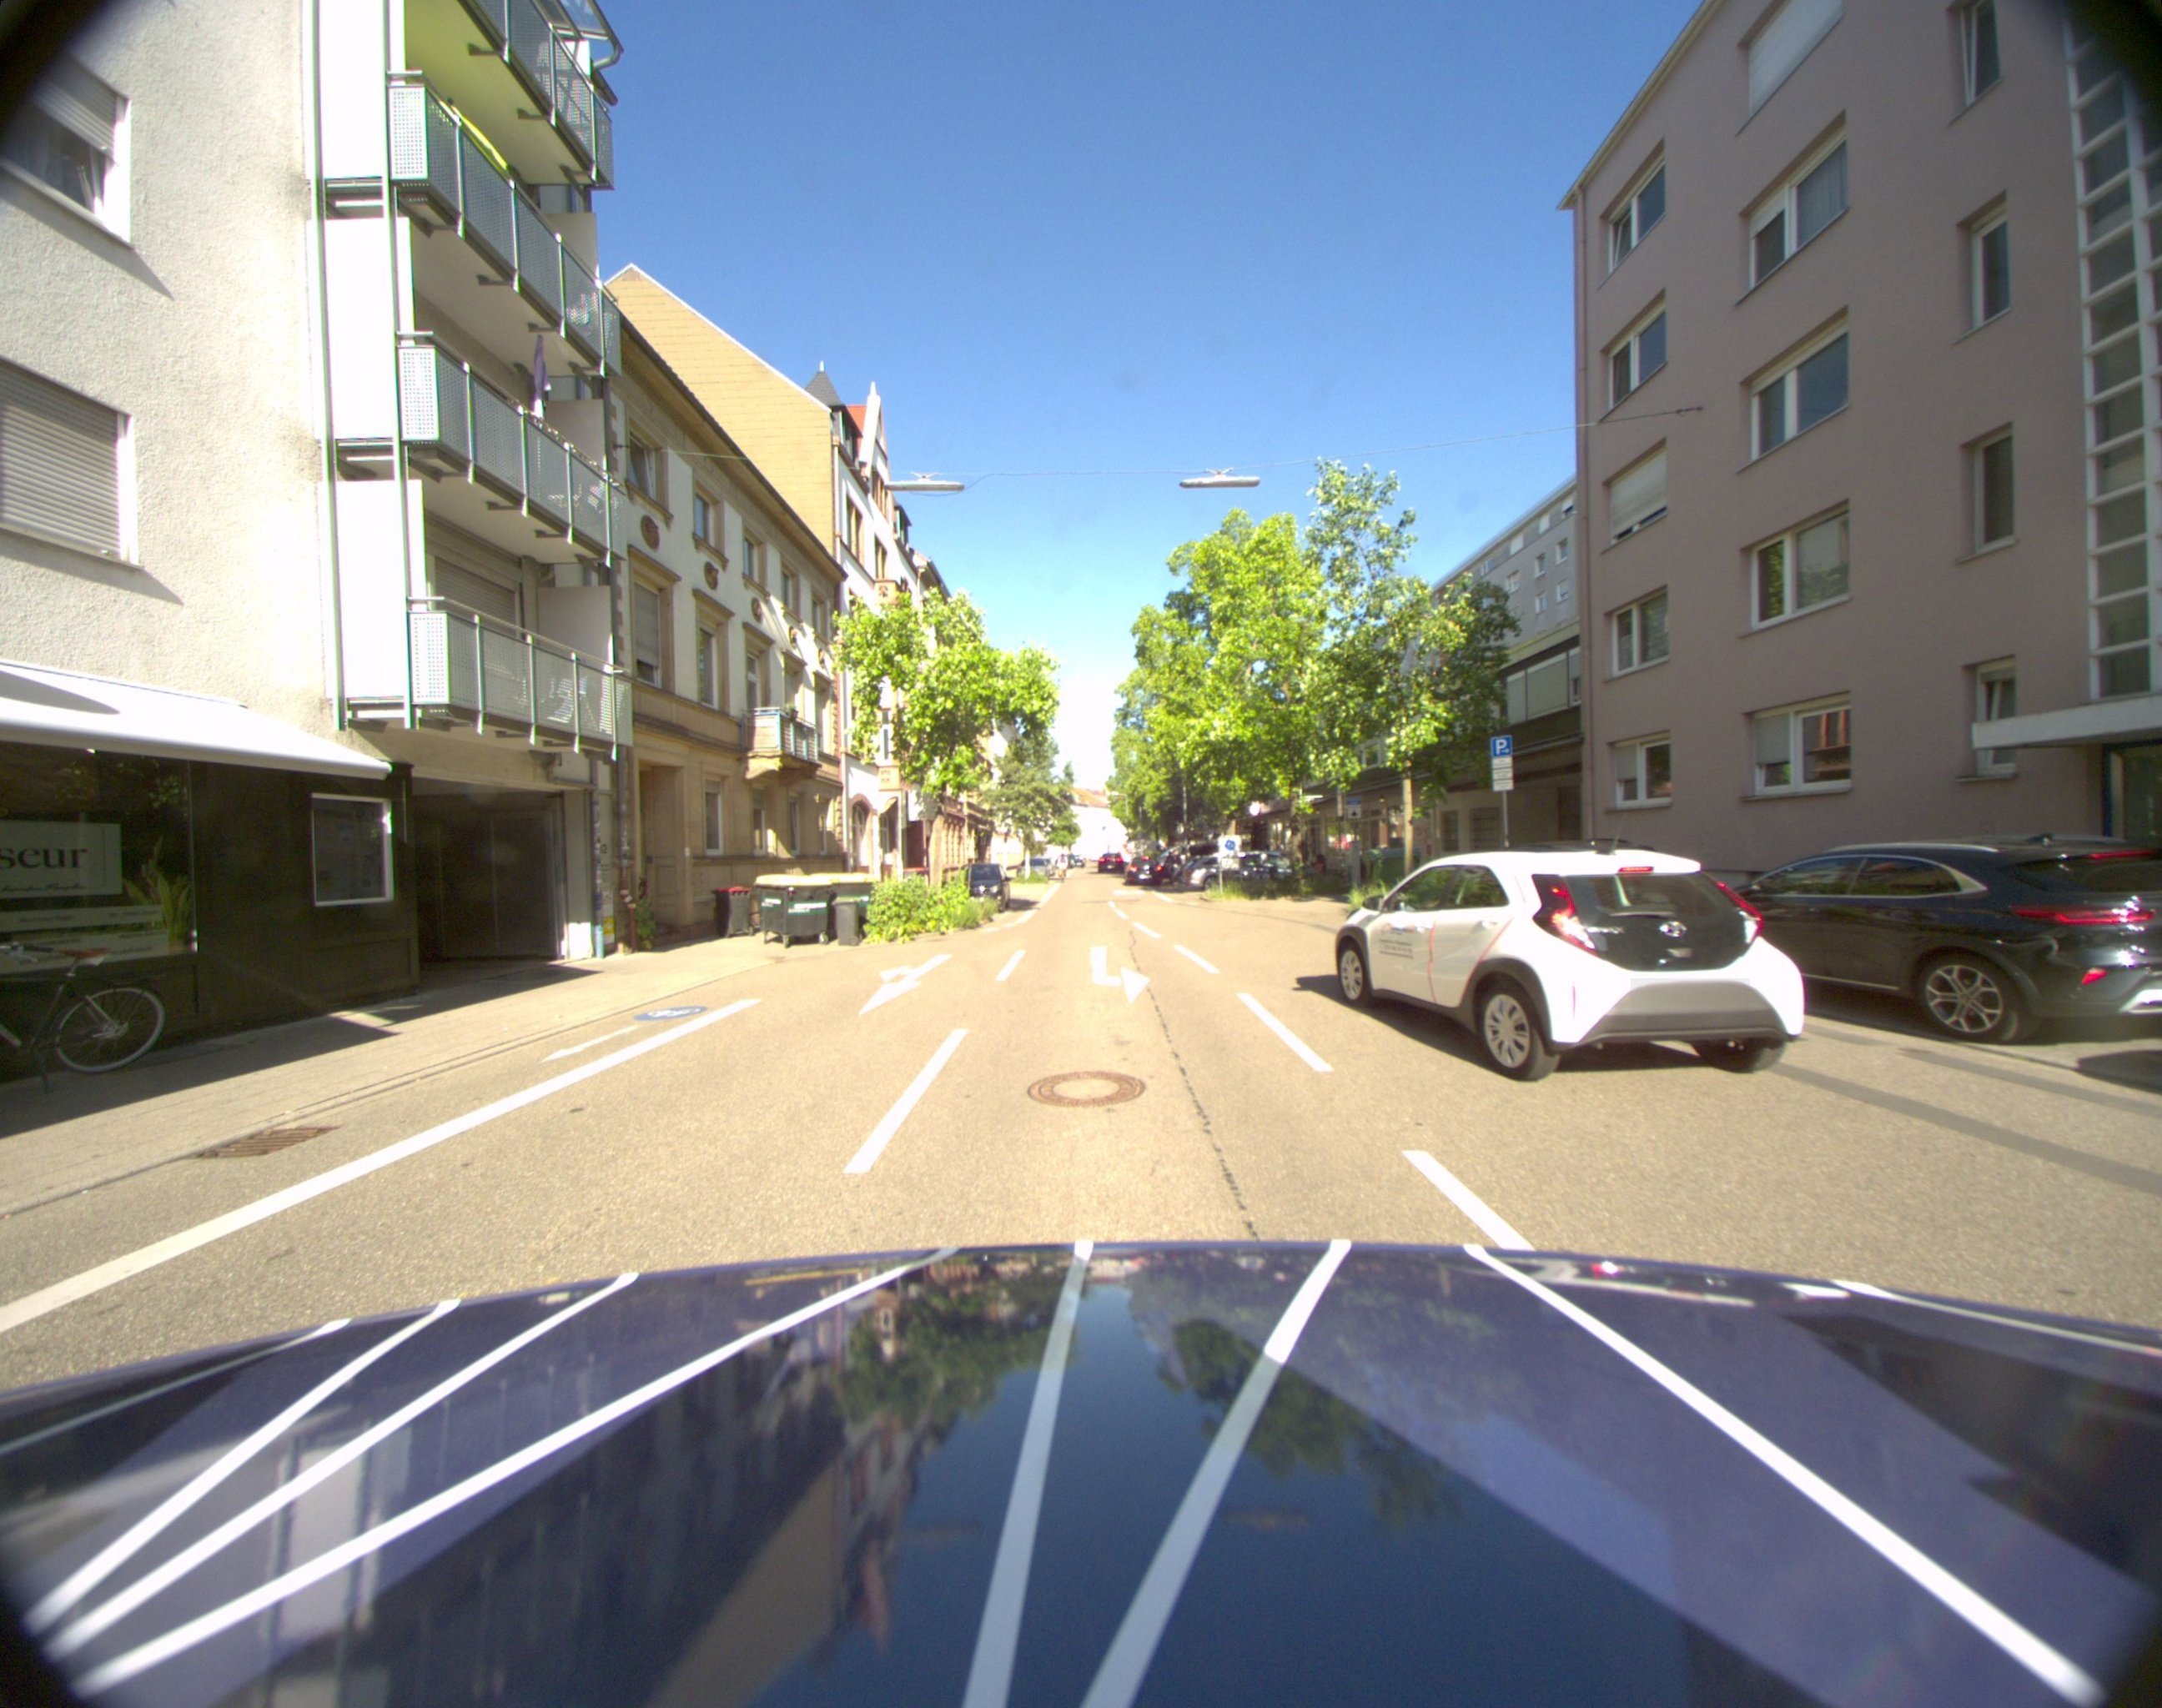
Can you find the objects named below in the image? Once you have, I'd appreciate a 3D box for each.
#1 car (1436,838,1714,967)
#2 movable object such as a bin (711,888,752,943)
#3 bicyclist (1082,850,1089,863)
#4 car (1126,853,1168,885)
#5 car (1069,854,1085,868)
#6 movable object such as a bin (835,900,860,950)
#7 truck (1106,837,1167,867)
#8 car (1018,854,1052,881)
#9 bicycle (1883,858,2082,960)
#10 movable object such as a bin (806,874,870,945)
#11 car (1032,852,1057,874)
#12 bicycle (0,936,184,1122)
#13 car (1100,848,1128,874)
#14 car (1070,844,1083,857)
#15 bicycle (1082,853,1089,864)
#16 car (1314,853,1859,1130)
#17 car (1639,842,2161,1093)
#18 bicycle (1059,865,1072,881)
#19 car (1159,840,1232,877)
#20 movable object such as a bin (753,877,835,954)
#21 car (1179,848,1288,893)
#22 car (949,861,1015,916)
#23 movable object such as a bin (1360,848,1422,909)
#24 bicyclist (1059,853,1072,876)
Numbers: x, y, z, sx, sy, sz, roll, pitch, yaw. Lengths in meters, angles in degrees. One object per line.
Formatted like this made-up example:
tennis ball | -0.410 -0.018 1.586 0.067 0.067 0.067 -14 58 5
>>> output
car | 7.591 0.642 12.265 1.821 1.583 4.141 -5 0 2
movable object such as a bin | -7.317 1.273 15.902 0.615 1.075 0.568 2 3 42
bicyclist | 0.539 0.302 91.910 0.748 1.588 0.613 -3 1 1
car | 3.244 0.726 37.932 1.867 1.455 4.000 -2 0 3
car | -0.422 0.747 81.649 1.653 1.447 3.290 -2 0 1
movable object such as a bin | -4.576 1.385 14.898 0.401 0.916 0.484 0 2 -7
truck | 5.217 -0.182 71.613 5.322 2.581 1.998 -2 1 -9
car | -2.742 0.765 45.897 1.759 1.492 3.949 -2 0 0
bicycle | 10.762 0.611 9.163 0.391 1.070 1.650 -6 1 2
movable object such as a bin | -5.084 1.124 15.863 0.960 1.341 1.066 -1 2 -38
car | -2.629 0.653 55.212 1.653 1.483 3.290 -2 0 0
bicycle | -7.745 1.284 5.456 0.402 1.171 1.792 -2 0 1
car | 2.460 0.493 57.621 1.994 1.599 4.259 -3 3 1
car | -0.742 -0.557 126.481 1.998 2.002 4.000 -2 0 1
bicycle | 0.553 0.531 91.878 0.778 1.139 2.259 -3 1 1
car | 3.521 0.778 6.260 1.770 1.528 3.784 -2 0 -4
car | 7.517 0.704 6.914 1.821 1.499 4.245 -4 0 2
bicycle | -0.913 1.086 43.902 0.612 0.876 1.813 -2 -1 -5
car | 6.709 0.260 44.785 3.997 2.020 2.000 -2 1 1
movable object such as a bin | -5.587 1.161 14.787 1.212 1.318 1.052 2 3 42
car | 6.091 0.632 30.677 3.997 1.665 2.000 -2 1 1
car | -2.967 1.012 23.374 1.551 1.483 3.351 -2 0 0
movable object such as a bin | 8.136 0.632 20.001 1.247 1.536 1.019 -2 1 5
bicyclist | -0.900 0.604 43.686 0.610 1.338 1.018 -2 0 -6
